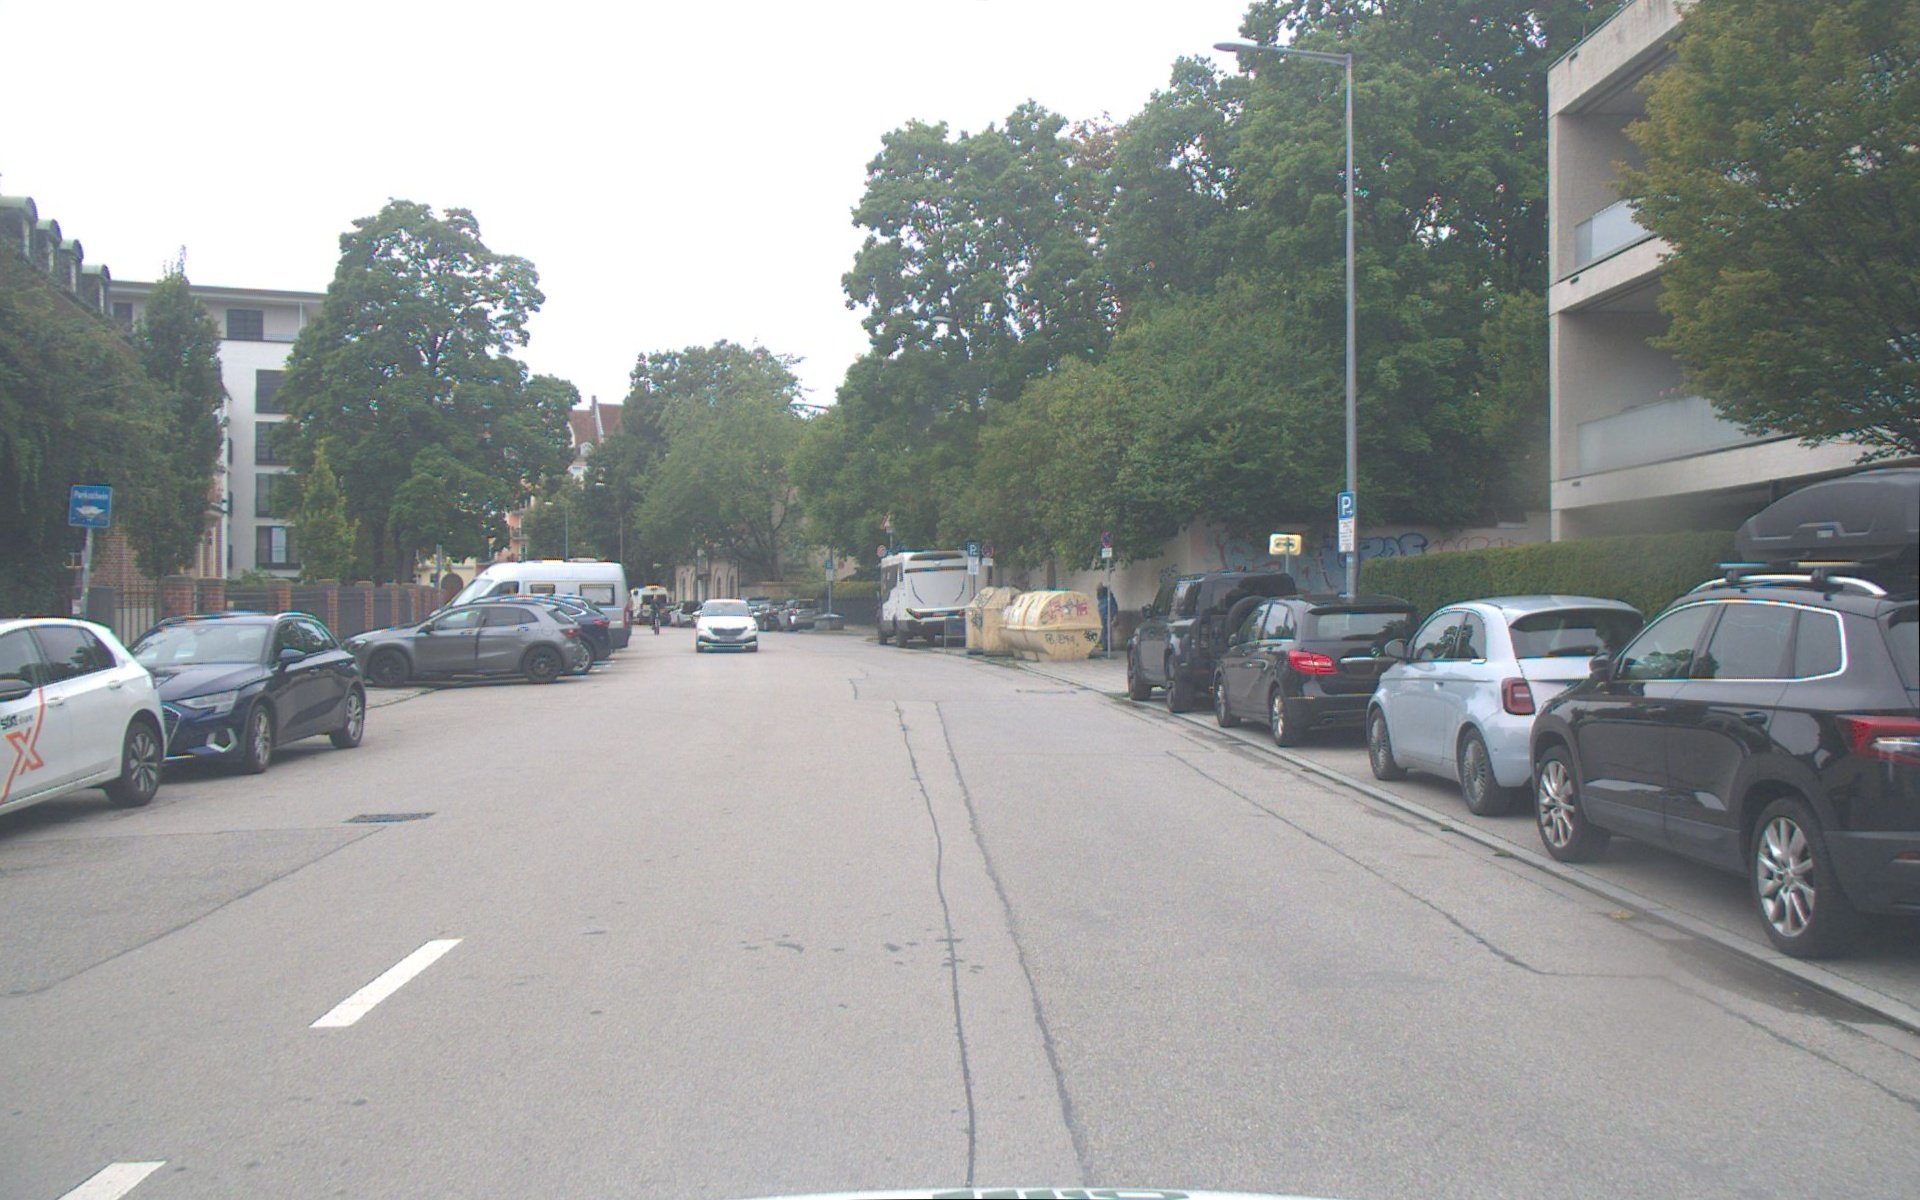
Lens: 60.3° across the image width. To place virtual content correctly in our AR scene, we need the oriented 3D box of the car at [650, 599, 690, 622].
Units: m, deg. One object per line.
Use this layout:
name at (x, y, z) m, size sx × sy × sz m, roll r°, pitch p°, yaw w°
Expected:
car at (-18.867, 0.692, 107.611) m, size 1.683 × 1.393 × 4.411 m, roll -2°, pitch 1°, yaw -21°

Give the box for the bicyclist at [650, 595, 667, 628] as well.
bicyclist at (-12.674, 0.463, 69.530) m, size 0.684 × 1.376 × 0.927 m, roll -1°, pitch 0°, yaw -12°

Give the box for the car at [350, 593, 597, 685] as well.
car at (-8.982, 0.709, 30.779) m, size 4.260 × 1.556 × 1.925 m, roll -1°, pitch -1°, yaw -16°

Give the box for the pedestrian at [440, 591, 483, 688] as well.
pedestrian at (-8.909, 0.701, 29.571) m, size 0.579 × 1.676 × 0.713 m, roll -3°, pitch -1°, yaw -9°

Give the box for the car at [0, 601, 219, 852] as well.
car at (-7.040, 0.859, 11.433) m, size 1.808 × 1.561 × 4.520 m, roll -3°, pitch 1°, yaw -1°

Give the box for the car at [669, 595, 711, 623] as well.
car at (-16.708, 0.549, 102.278) m, size 1.683 × 1.564 × 4.213 m, roll -3°, pitch 1°, yaw -21°

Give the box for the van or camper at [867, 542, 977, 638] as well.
van or camper at (-1.384, -0.332, 55.237) m, size 2.233 × 2.957 × 7.252 m, roll -1°, pitch 0°, yaw -13°

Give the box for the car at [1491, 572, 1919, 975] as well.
car at (4.375, 0.612, 8.484) m, size 1.712 × 1.506 × 4.596 m, roll 0°, pitch 1°, yaw -2°

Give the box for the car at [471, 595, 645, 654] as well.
car at (-11.528, 0.686, 47.565) m, size 4.484 × 1.476 × 1.949 m, roll -3°, pitch 1°, yaw -40°

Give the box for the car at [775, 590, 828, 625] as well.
car at (-7.744, 0.367, 80.711) m, size 1.717 × 1.563 × 2.923 m, roll -3°, pitch 0°, yaw -24°

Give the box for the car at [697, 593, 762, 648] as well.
car at (-6.622, 0.564, 47.660) m, size 1.739 × 1.501 × 4.127 m, roll -1°, pitch 0°, yaw -8°

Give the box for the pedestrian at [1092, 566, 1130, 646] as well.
pedestrian at (3.896, 0.150, 42.701) m, size 0.783 × 2.020 × 0.627 m, roll -1°, pitch 0°, yaw -19°

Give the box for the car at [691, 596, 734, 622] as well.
car at (-14.635, 0.563, 97.610) m, size 1.661 × 1.466 × 3.974 m, roll -2°, pitch 0°, yaw -21°

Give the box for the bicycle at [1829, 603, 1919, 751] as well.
bicycle at (8.666, 0.638, 14.137) m, size 1.989 × 1.216 × 0.895 m, roll -1°, pitch 0°, yaw 10°

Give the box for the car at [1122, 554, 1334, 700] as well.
car at (3.763, 0.372, 24.173) m, size 1.949 × 1.904 × 5.073 m, roll 0°, pitch 0°, yaw -4°

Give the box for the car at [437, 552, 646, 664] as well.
car at (-10.495, 0.155, 41.586) m, size 4.585 × 2.608 × 2.206 m, roll -2°, pitch 1°, yaw -36°

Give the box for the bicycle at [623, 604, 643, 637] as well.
bicycle at (-13.716, 0.834, 69.291) m, size 0.695 × 1.328 × 2.110 m, roll -1°, pitch 0°, yaw -14°

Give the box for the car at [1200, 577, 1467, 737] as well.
car at (4.069, 0.552, 18.814) m, size 1.713 × 1.566 × 4.566 m, roll -1°, pitch 0°, yaw -4°

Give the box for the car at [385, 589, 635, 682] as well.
car at (-9.090, 0.677, 33.541) m, size 4.477 × 1.621 × 1.941 m, roll -3°, pitch 0°, yaw -36°

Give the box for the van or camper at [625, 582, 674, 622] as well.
van or camper at (-21.423, 0.140, 113.939) m, size 2.162 × 2.594 × 5.688 m, roll -2°, pitch 1°, yaw -22°

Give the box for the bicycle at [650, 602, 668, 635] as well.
bicycle at (-12.678, 0.766, 69.615) m, size 0.693 × 1.328 × 2.113 m, roll -1°, pitch 0°, yaw -10°

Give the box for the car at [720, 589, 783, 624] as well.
car at (-11.199, 0.361, 88.722) m, size 1.968 × 1.741 × 4.847 m, roll -3°, pitch 1°, yaw -24°

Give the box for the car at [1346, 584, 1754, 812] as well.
car at (4.437, 0.639, 13.103) m, size 1.713 × 1.506 × 3.886 m, roll -1°, pitch 0°, yaw -2°

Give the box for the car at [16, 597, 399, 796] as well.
car at (-7.165, 0.812, 16.348) m, size 1.808 × 1.561 × 4.559 m, roll -3°, pitch 1°, yaw -3°

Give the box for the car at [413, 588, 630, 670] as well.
car at (-10.190, 0.663, 38.582) m, size 4.476 × 1.653 × 1.942 m, roll -2°, pitch -1°, yaw -36°

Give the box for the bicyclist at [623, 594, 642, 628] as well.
bicyclist at (-13.712, 0.446, 69.260) m, size 0.685 × 1.422 × 0.926 m, roll -1°, pitch 0°, yaw -15°

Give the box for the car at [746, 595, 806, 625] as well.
car at (-9.421, 0.503, 84.465) m, size 1.853 × 1.452 × 4.189 m, roll -3°, pitch 1°, yaw -24°
